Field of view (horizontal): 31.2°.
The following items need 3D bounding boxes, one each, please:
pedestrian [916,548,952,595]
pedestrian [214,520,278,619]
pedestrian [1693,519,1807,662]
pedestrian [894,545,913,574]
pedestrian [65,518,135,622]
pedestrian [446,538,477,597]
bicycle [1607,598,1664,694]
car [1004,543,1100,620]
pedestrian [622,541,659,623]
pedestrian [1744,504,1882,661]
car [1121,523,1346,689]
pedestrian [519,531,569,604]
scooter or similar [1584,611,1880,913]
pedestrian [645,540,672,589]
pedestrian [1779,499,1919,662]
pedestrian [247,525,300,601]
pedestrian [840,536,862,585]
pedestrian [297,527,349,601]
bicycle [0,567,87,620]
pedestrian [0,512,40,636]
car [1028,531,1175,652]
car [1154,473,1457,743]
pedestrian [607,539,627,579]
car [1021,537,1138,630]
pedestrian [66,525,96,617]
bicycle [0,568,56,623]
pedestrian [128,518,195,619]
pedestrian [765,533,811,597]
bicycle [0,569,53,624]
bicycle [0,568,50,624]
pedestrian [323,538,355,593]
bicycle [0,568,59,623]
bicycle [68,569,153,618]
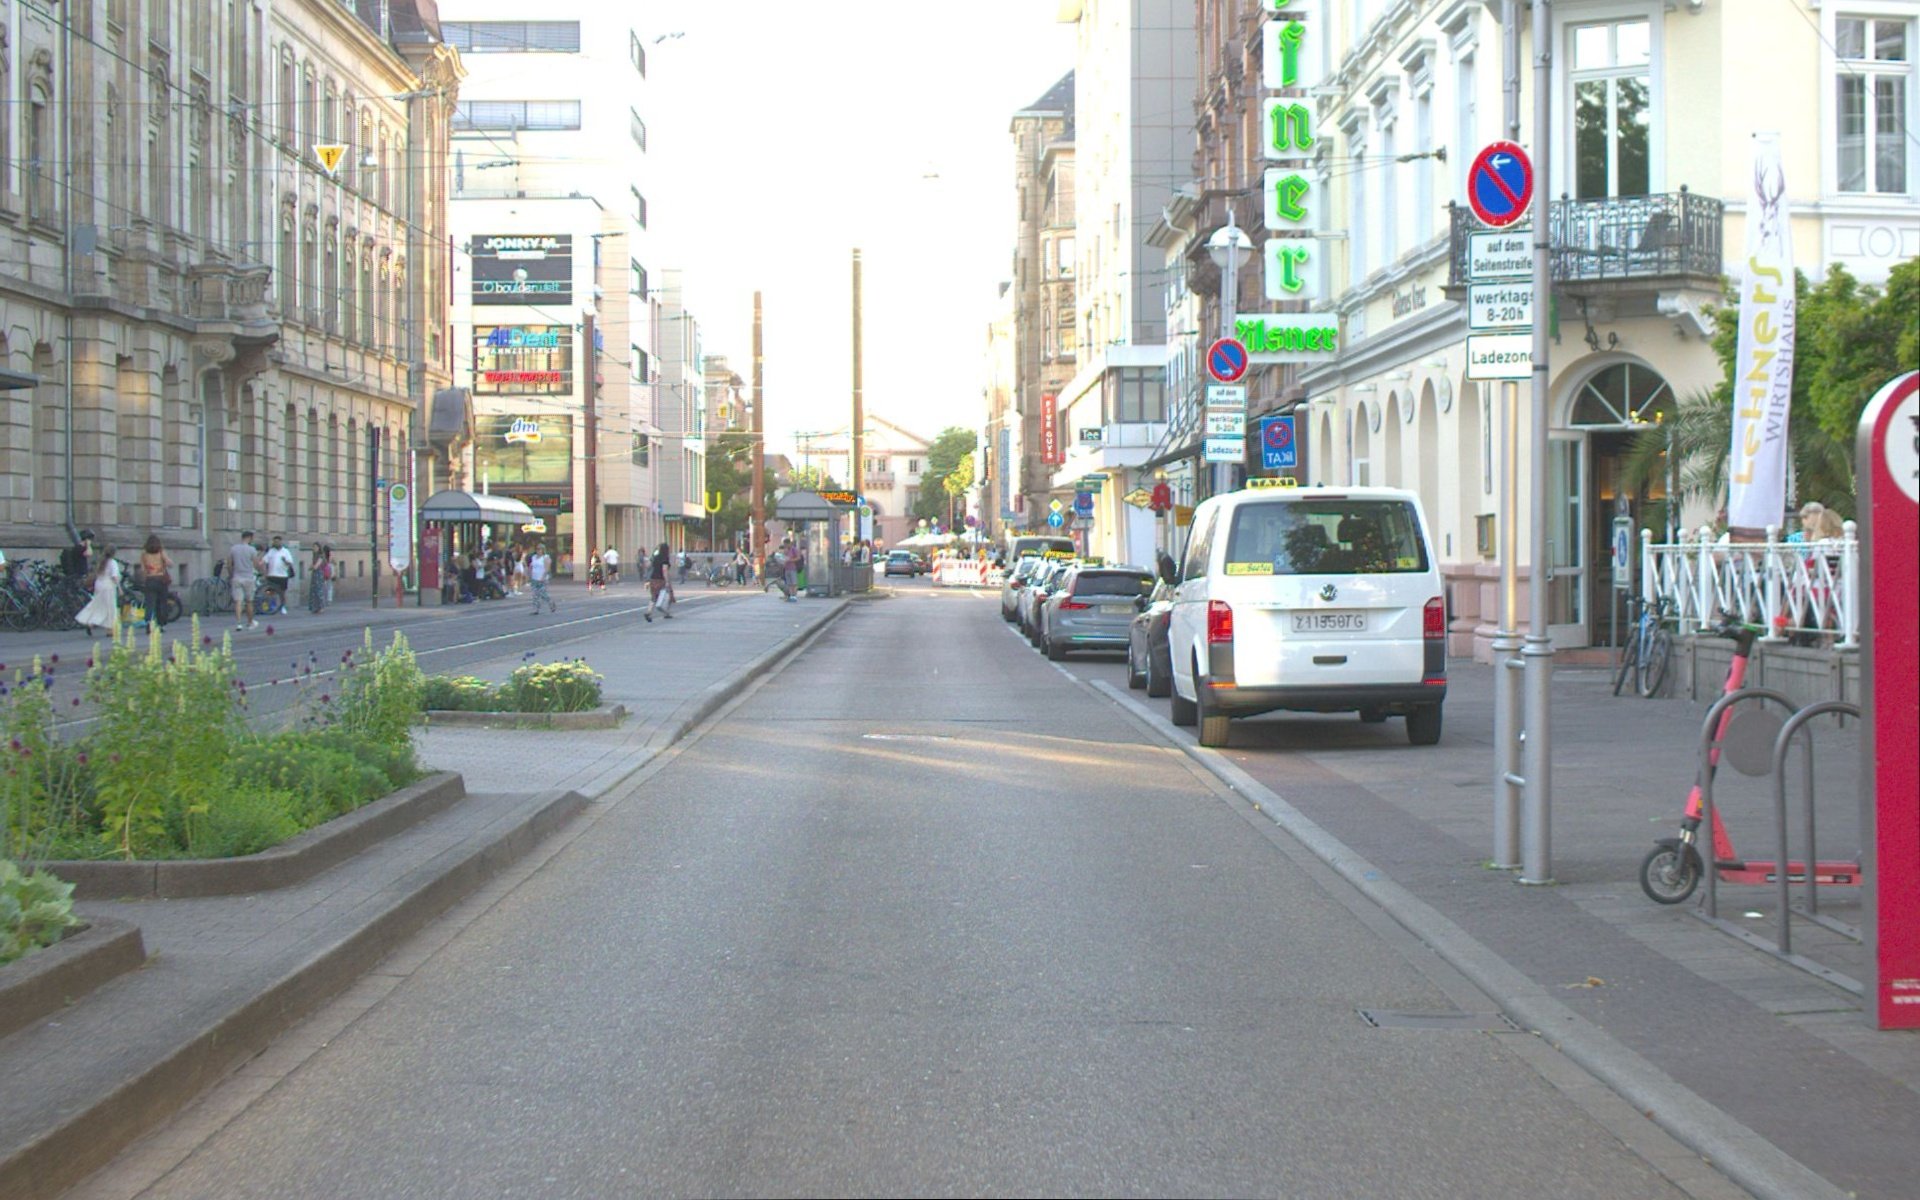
[{"bbox_3d":[-1.067,-1.169,142.284,1.229,1.922,1.022,0,1,-16],"label":"pedestrian"},{"bbox_3d":[-12.260,-0.520,59.082,1.048,1.680,0.908,0,-1,-10],"label":"pedestrian"},{"bbox_3d":[7.275,-0.083,31.684,0.822,1.301,0.870,0,-1,-1],"label":"pedestrian"},{"bbox_3d":[-3.505,-2.518,213.129,0.782,1.728,0.811,-1,-1,40],"label":"pedestrian"},{"bbox_3d":[-14.122,-0.485,56.460,1.048,1.680,0.908,0,-1,-10],"label":"pedestrian"},{"bbox_3d":[-13.343,-0.883,91.994,0.777,1.575,0.679,0,1,-12],"label":"pedestrian"},{"bbox_3d":[6.480,0.439,33.015,0.250,0.899,1.374,0,-1,-1],"label":"bicycle"},{"bbox_3d":[2.060,-0.406,78.287,1.993,1.661,4.421,0,-1,-1],"label":"car"},{"bbox_3d":[-6.412,-0.366,68.979,0.689,1.630,0.581,0,1,-8],"label":"pedestrian"},{"bbox_3d":[7.233,-0.139,29.193,0.902,1.301,0.967,0,-1,-1],"label":"pedestrian"},{"bbox_3d":[2.854,0.049,36.818,1.993,1.661,4.421,0,0,-1],"label":"car"},{"bbox_3d":[-9.725,-0.769,80.386,1.049,1.680,0.908,0,1,-1],"label":"pedestrian"},{"bbox_3d":[3.181,0.663,14.199,1.125,1.212,0.300,-1,0,1],"label":"scooter or similar"},{"bbox_3d":[-11.771,-1.392,134.277,0.905,1.922,0.851,0,1,-16],"label":"pedestrian"},{"bbox_3d":[7.266,-0.152,28.080,0.902,1.309,0.967,0,-1,-1],"label":"pedestrian"},{"bbox_3d":[-15.290,-0.817,76.576,1.048,1.680,0.908,0,1,-19],"label":"pedestrian"},{"bbox_3d":[-3.397,-1.241,107.253,0.612,1.518,0.621,0,-1,-9],"label":"pedestrian"},{"bbox_3d":[-14.538,-0.833,78.474,1.048,1.680,0.908,0,1,-19],"label":"pedestrian"},{"bbox_3d":[-16.471,-0.122,61.598,1.582,0.946,0.359,0,-1,-12],"label":"bicycle"},{"bbox_3d":[-13.044,-0.337,46.462,0.880,1.648,0.875,0,-1,13],"label":"pedestrian"},{"bbox_3d":[2.101,-0.134,52.294,1.993,1.755,4.421,0,0,-1],"label":"car"},{"bbox_3d":[2.668,0.037,27.493,1.915,1.975,4.421,0,0,-1],"label":"car"},{"bbox_3d":[-16.488,-1.985,165.144,0.848,1.922,0.908,0,1,0],"label":"pedestrian"},{"bbox_3d":[2.233,-0.286,65.135,1.993,1.661,4.421,0,-1,-1],"label":"car"},{"bbox_3d":[-16.066,-0.535,62.831,0.516,1.667,0.482,0,1,-16],"label":"pedestrian"},{"bbox_3d":[-16.599,-0.074,59.962,1.582,0.946,0.359,0,-1,-12],"label":"bicycle"},{"bbox_3d":[-13.460,-0.530,57.998,1.048,1.680,0.908,0,-1,-10],"label":"pedestrian"},{"bbox_3d":[-4.553,-0.925,91.056,1.049,1.680,0.908,0,-1,11],"label":"pedestrian"},{"bbox_3d":[-16.552,-0.067,59.562,1.582,0.946,0.359,0,-1,-11],"label":"bicycle"},{"bbox_3d":[-16.469,-0.067,59.112,1.582,0.946,0.359,0,-1,-12],"label":"bicycle"},{"bbox_3d":[-16.239,-0.904,89.920,0.629,1.424,0.710,0,1,6],"label":"pedestrian"},{"bbox_3d":[-16.663,-0.079,60.396,1.582,0.946,0.359,0,-1,-12],"label":"bicycle"},{"bbox_3d":[-16.394,-0.122,66.376,1.582,0.946,0.359,0,-1,-12],"label":"bicycle"}]
